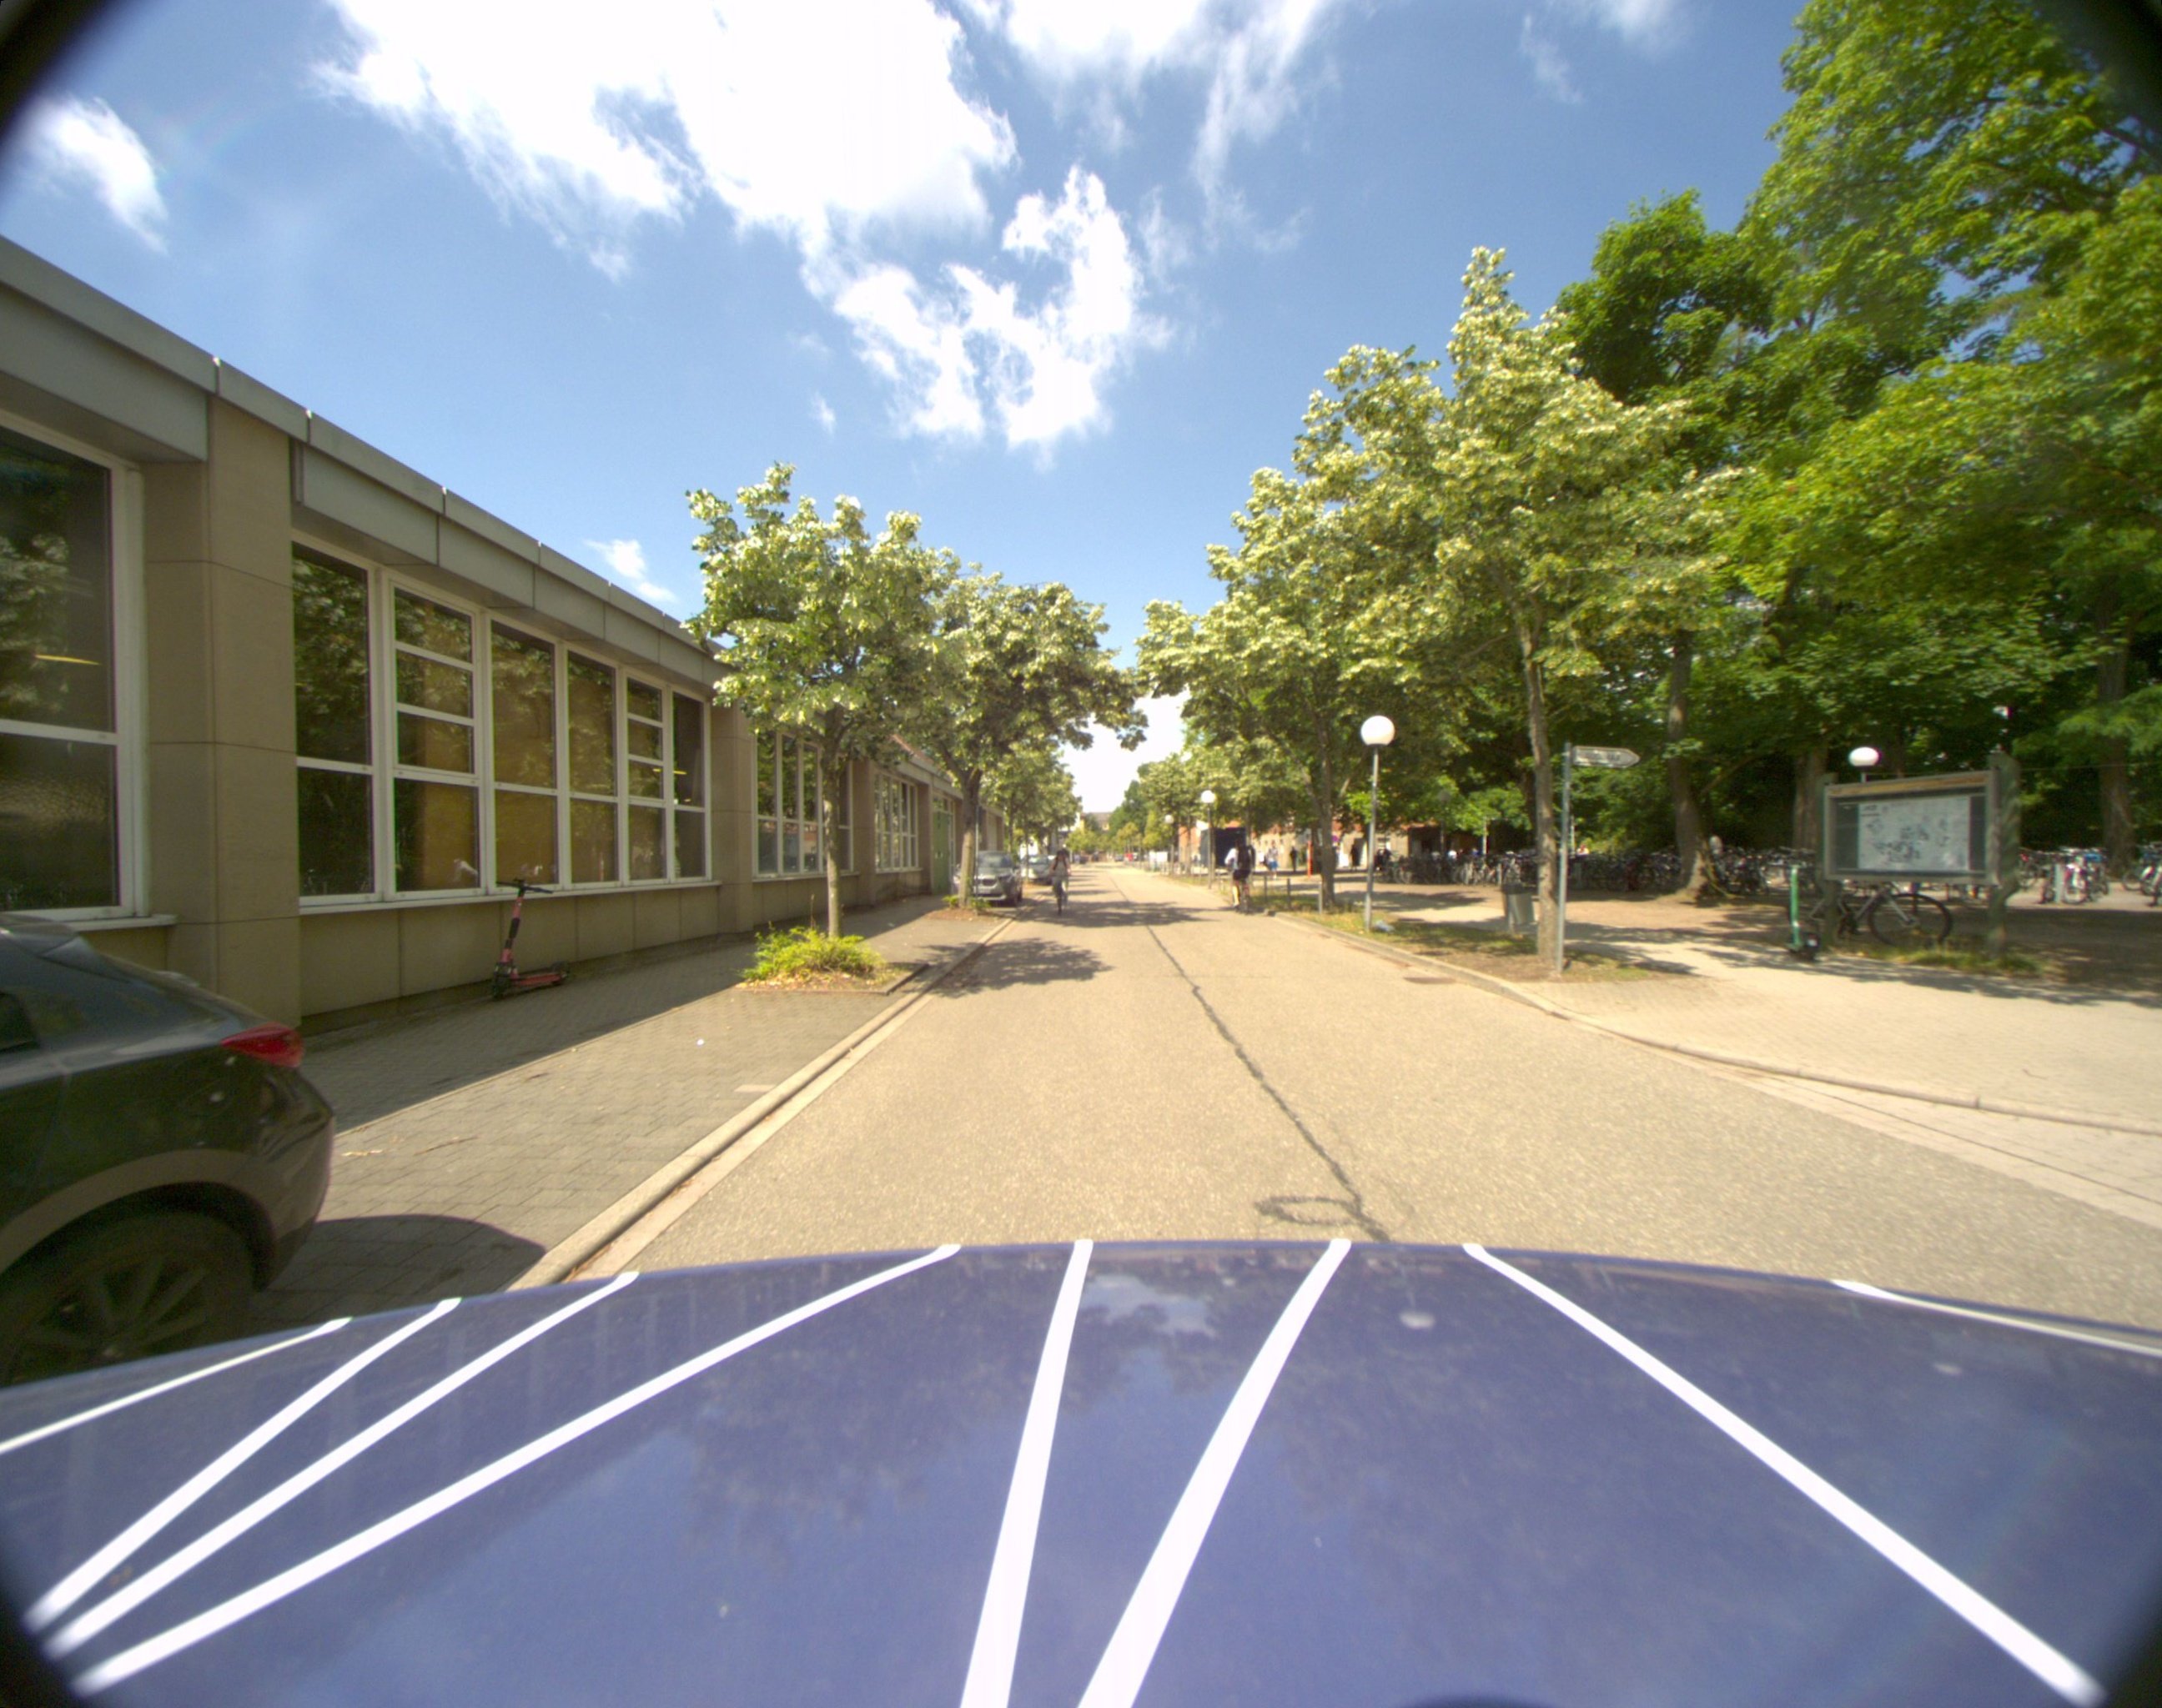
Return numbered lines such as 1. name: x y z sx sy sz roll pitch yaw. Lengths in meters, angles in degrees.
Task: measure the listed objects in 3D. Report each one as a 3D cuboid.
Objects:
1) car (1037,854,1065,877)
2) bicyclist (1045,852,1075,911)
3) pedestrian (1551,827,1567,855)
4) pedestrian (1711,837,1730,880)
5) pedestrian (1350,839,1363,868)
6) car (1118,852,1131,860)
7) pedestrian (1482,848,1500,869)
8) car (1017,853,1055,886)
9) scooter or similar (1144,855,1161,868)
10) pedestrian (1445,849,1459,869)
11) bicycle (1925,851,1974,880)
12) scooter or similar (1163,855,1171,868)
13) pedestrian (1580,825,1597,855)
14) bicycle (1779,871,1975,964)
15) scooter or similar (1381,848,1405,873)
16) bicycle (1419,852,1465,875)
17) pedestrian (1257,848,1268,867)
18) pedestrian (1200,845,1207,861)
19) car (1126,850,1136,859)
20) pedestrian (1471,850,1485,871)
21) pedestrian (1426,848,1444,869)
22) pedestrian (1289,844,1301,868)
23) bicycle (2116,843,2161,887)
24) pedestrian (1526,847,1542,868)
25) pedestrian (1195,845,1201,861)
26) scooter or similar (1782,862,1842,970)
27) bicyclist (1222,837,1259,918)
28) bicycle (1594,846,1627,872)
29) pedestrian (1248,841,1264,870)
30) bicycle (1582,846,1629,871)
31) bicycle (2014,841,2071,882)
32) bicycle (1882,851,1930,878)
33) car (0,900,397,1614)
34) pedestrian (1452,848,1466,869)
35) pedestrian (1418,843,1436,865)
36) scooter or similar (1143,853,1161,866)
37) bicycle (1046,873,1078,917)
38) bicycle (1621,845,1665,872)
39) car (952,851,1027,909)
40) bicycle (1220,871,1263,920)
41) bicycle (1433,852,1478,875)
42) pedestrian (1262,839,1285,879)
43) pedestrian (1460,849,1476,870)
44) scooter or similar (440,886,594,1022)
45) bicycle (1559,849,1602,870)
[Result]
1. car: -1.950 0.733 51.076 1.730 1.458 4.671 0 0 0
2. bicyclist: -0.546 0.710 20.116 0.675 1.470 1.062 -1 2 3
3. pedestrian: 25.255 -0.682 40.127 0.507 1.414 0.460 -2 1 -9
4. pedestrian: 24.093 0.165 28.634 0.462 1.605 0.350 -2 1 -23
5. pedestrian: 17.618 -0.024 48.651 0.530 1.837 0.806 -2 1 2
6. car: 11.090 0.532 194.096 2.022 2.079 4.440 -1 0 22
7. pedestrian: 24.472 0.287 45.351 0.570 1.243 0.766 -2 1 -10
8. car: -2.279 0.751 39.173 1.708 1.565 4.140 1 0 0
9. scooter or similar: 6.870 0.704 73.211 1.571 1.218 0.571 0 1 28
10. pedestrian: 24.159 0.313 49.447 0.561 1.264 0.693 -2 1 2
11. bicycle: 28.790 0.367 25.186 1.769 0.888 0.418 -2 1 -19
12. scooter or similar: 7.977 0.668 70.550 0.564 1.142 1.351 -1 1 13
13. pedestrian: 26.665 -0.731 39.928 0.507 1.513 0.473 -2 1 -10
14. bicycle: 10.065 0.760 9.712 0.383 1.020 1.813 -1 1 -11
15. scooter or similar: 16.220 0.334 39.524 0.700 1.239 1.241 -2 1 1
16. bicycle: 16.571 0.414 34.873 1.806 1.008 0.537 -2 1 4
17. pedestrian: 14.563 0.313 61.041 0.744 1.500 0.499 -2 1 2
18. pedestrian: 13.597 -0.070 84.266 0.577 1.769 0.917 -1 1 1
19. car: 11.133 0.119 167.827 1.912 1.870 4.003 -1 0 8
20. pedestrian: 25.308 0.406 48.427 0.646 1.315 0.559 0 1 3
21. pedestrian: 21.713 0.267 46.587 0.596 1.226 0.741 -2 -1 -33
22. pedestrian: 14.981 0.128 53.221 0.632 1.656 0.643 -2 1 2
23. bicycle: 30.170 0.295 21.493 1.798 1.200 0.423 -2 1 -15
24. pedestrian: 25.674 0.179 43.075 0.392 1.187 0.730 -2 1 -8
25. pedestrian: 12.946 -0.075 84.226 0.564 1.752 0.805 -1 1 1
26. scooter or similar: 8.737 0.704 9.108 0.339 1.169 1.331 -1 1 36
27. bicyclist: 4.076 0.586 19.486 0.713 2.002 1.018 1 1 -1
28. bicycle: 23.190 0.204 33.261 1.961 1.085 0.595 -2 2 -37
29. pedestrian: 12.055 0.087 52.369 0.919 1.943 0.893 -3 1 11
30. bicycle: 24.153 0.200 34.999 1.958 1.085 0.596 -2 2 -12
31. bicycle: 29.497 0.225 23.303 1.798 1.200 0.423 -2 1 -15
32. bicycle: 28.319 0.351 26.078 1.769 0.888 0.418 -2 1 -19
33. car: -3.254 0.908 0.354 1.785 1.468 4.462 1 0 1
34. pedestrian: 24.125 0.281 48.474 0.561 1.264 0.693 -2 1 2
35. pedestrian: 21.589 0.011 47.441 0.596 1.361 0.741 -2 -1 -33
36. scooter or similar: 6.696 0.487 71.619 1.571 1.218 0.525 0 1 28
37. bicycle: -0.491 1.074 20.483 0.675 1.066 2.136 -1 0 3
38. bicycle: 24.514 0.177 33.142 1.960 1.085 0.596 -2 2 -21
39. car: -2.763 0.732 23.948 1.827 1.654 4.583 0 0 0
40. bicycle: 4.096 1.035 19.517 0.687 1.123 1.888 0 0 -1
41. bicycle: 17.445 0.431 35.420 1.806 1.008 0.537 -2 1 4
42. pedestrian: 9.071 0.221 35.811 0.801 1.820 0.987 -2 0 2
43. pedestrian: 25.159 0.368 49.431 0.689 1.315 0.778 0 1 3
44. scooter or similar: -5.955 1.007 8.119 0.512 1.242 1.486 1 1 1
45. bicycle: 23.760 0.262 36.131 1.884 0.937 0.546 -2 2 -12
